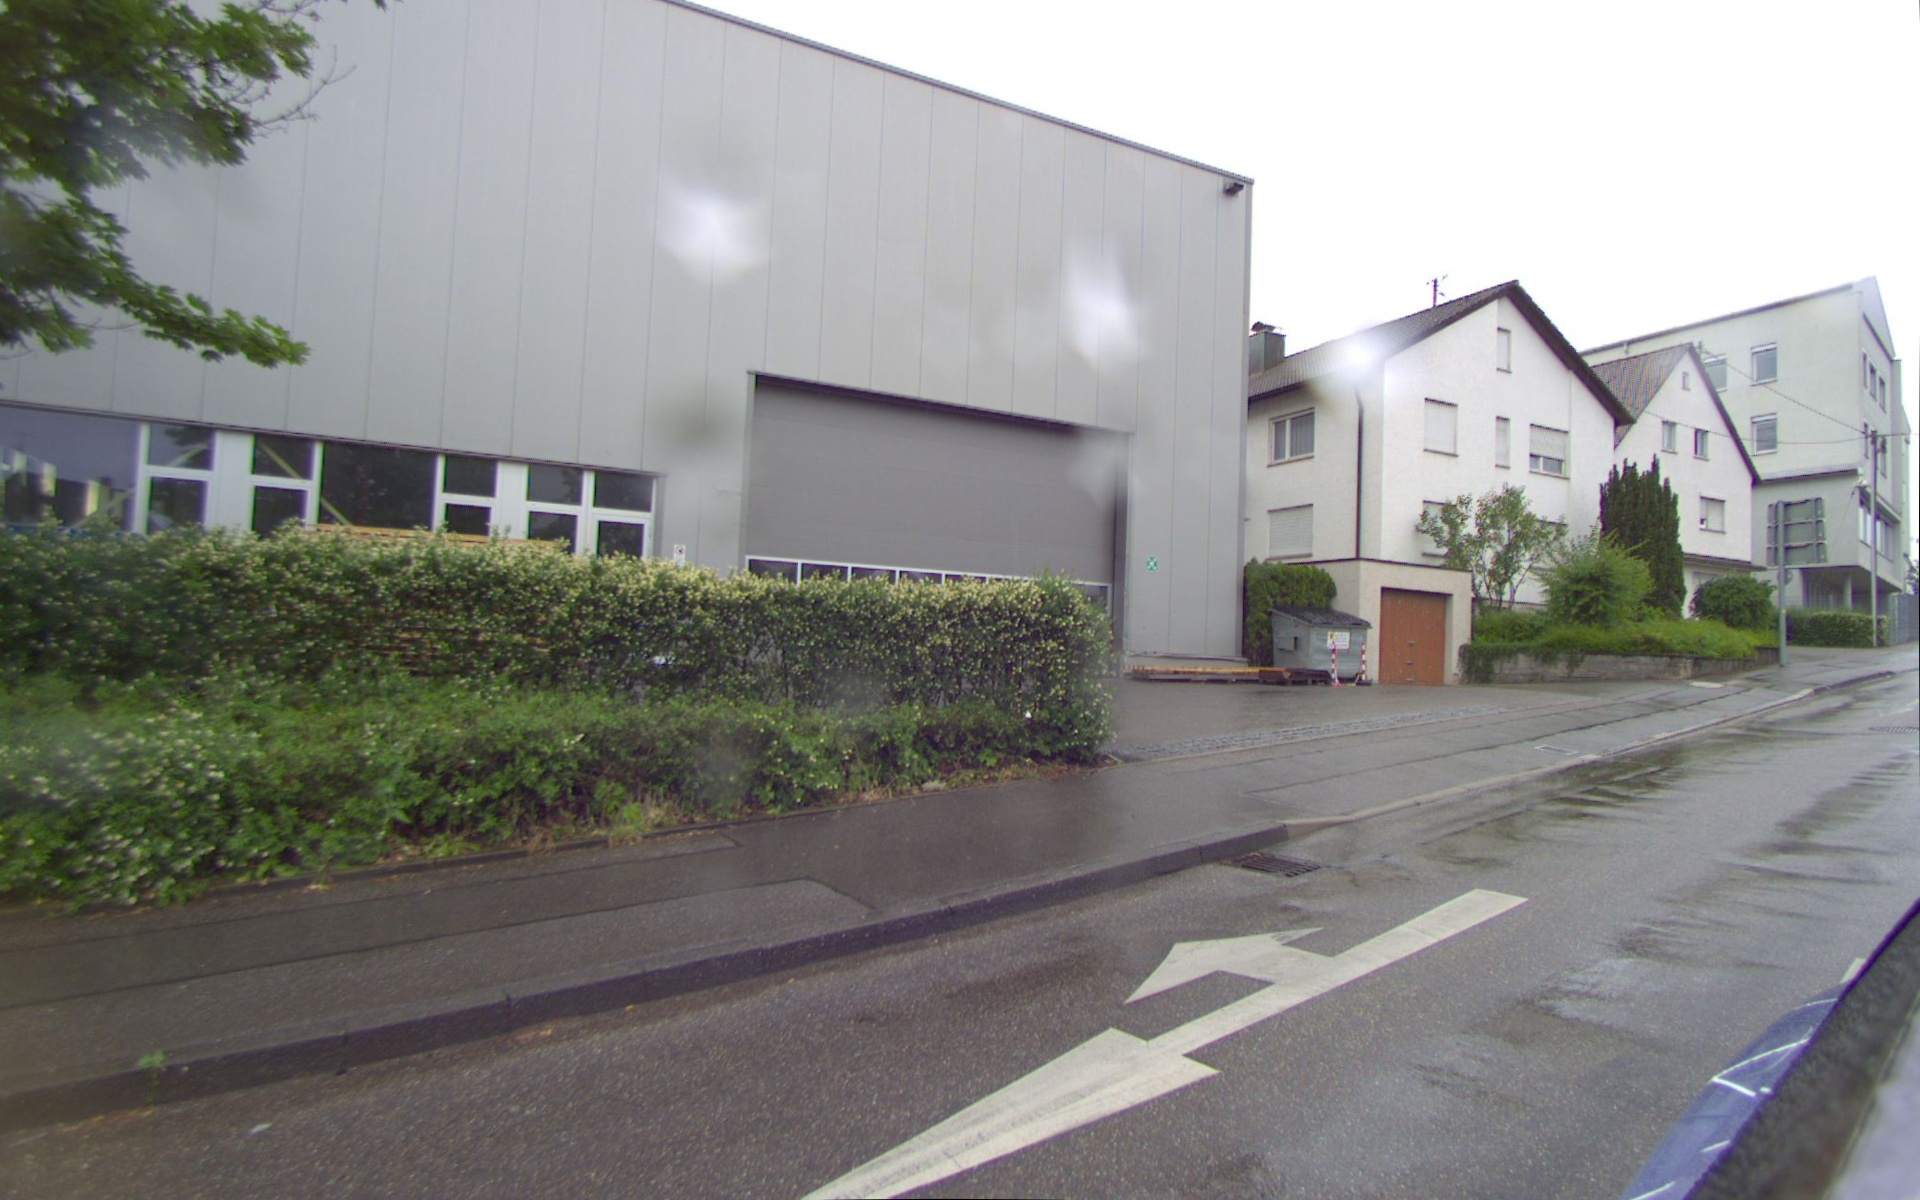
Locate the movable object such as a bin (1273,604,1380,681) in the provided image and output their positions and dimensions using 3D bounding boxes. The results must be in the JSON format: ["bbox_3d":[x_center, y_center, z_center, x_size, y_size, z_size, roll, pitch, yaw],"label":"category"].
[{"bbox_3d":[7.774,0.878,21.507,1.742,1.537,1.268,1,0,-25],"label":"movable object such as a bin"}]
